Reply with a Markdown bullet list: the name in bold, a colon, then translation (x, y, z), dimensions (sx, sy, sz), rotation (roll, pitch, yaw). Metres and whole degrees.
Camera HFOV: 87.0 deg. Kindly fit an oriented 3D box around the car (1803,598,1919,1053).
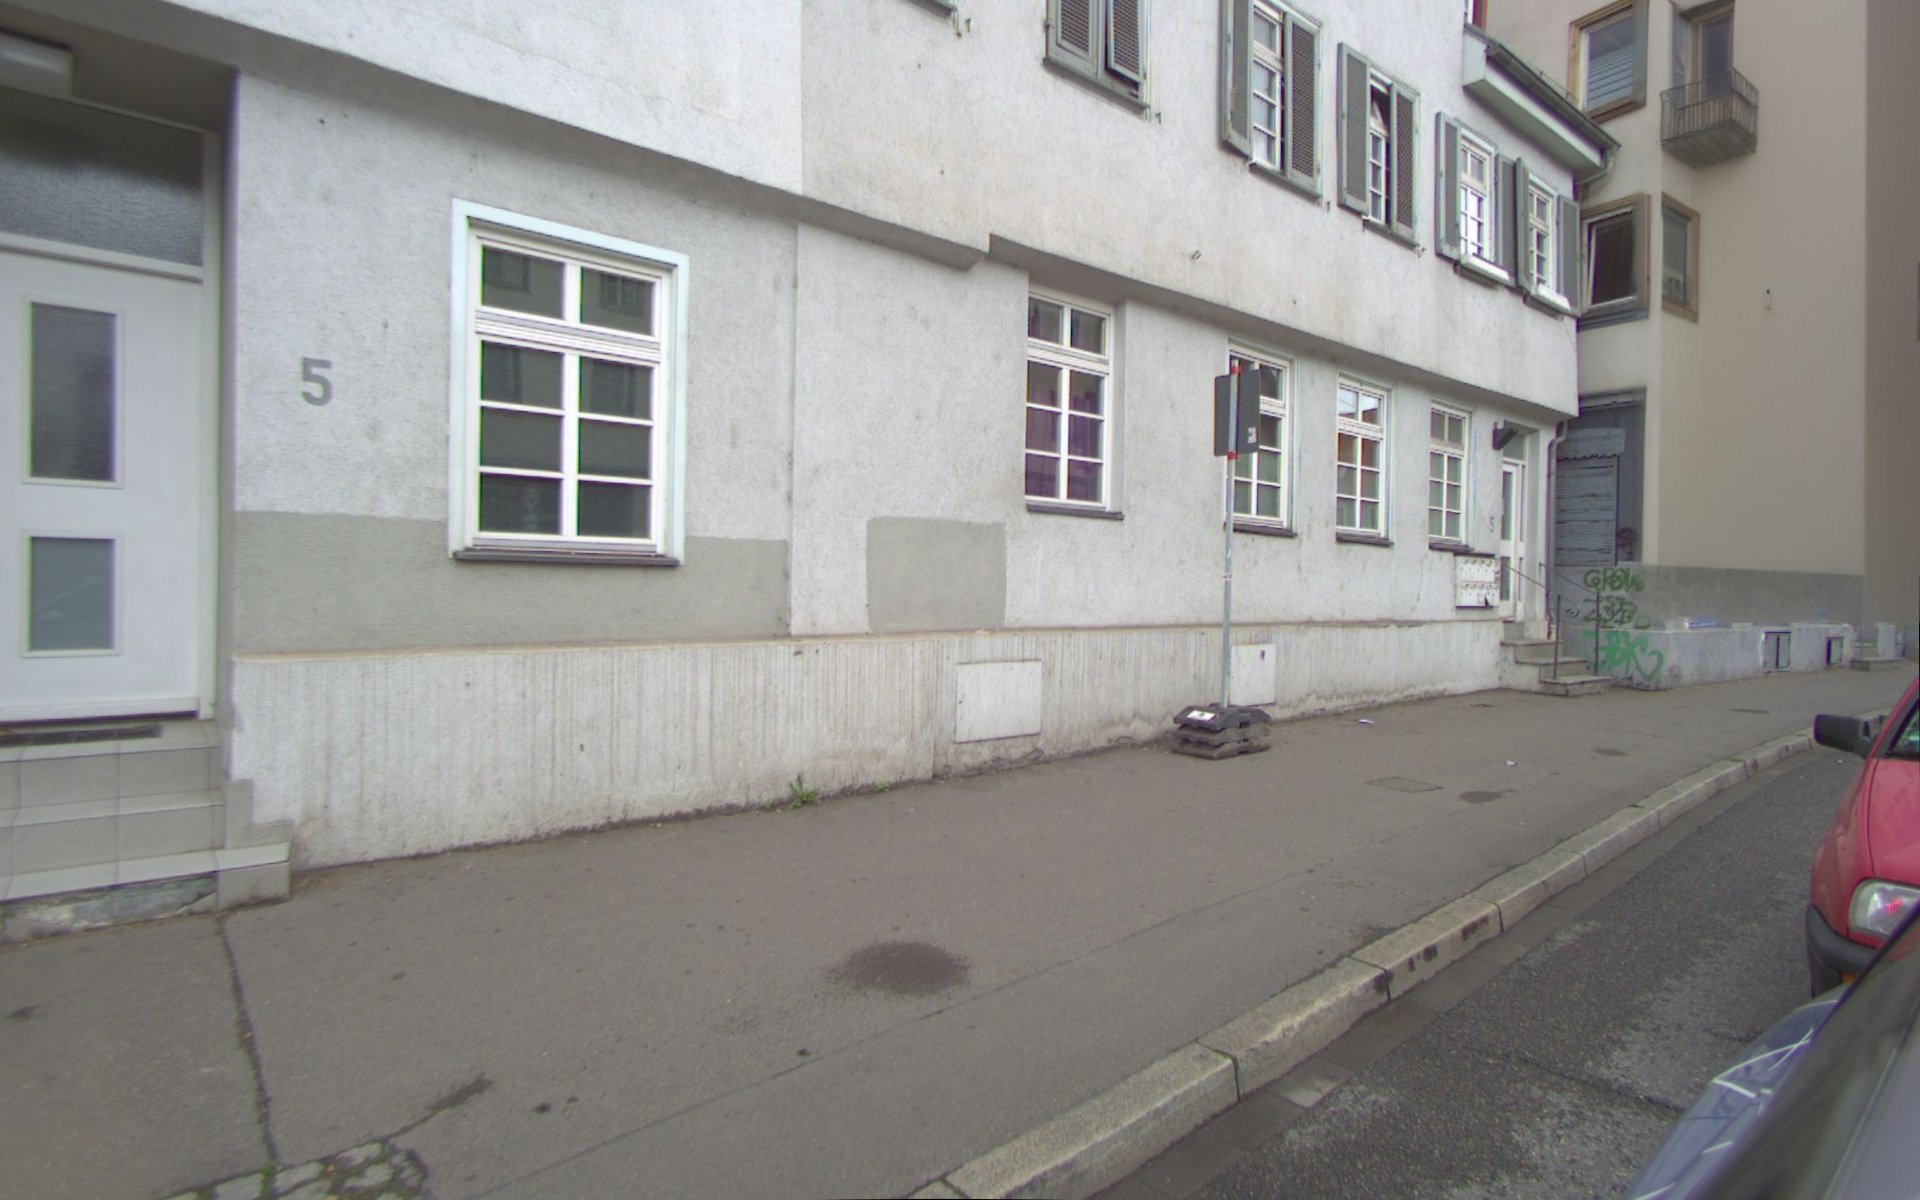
- **car**: translation (5.024, 0.731, 4.122), dimensions (3.930, 1.485, 1.802), rotation (0, -2, -41)
